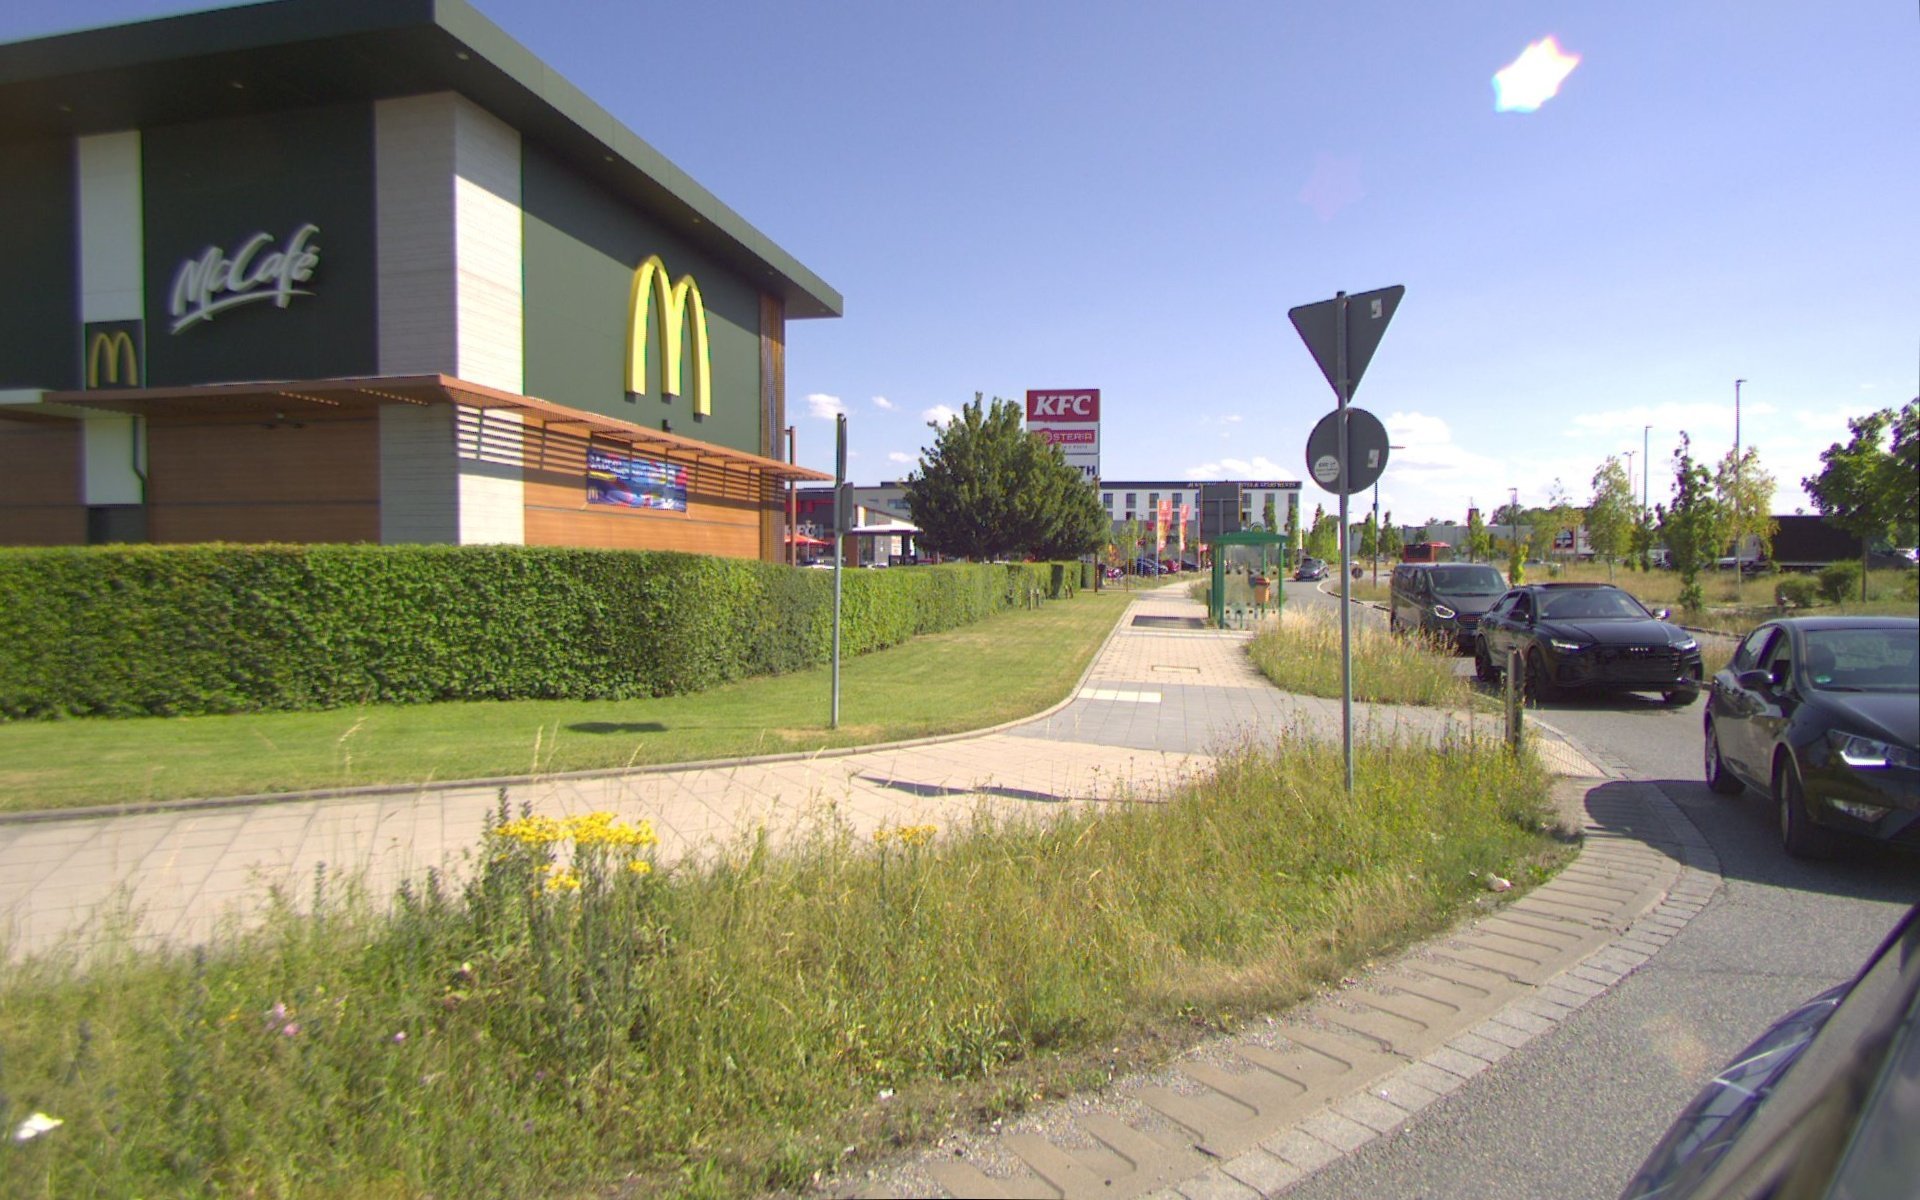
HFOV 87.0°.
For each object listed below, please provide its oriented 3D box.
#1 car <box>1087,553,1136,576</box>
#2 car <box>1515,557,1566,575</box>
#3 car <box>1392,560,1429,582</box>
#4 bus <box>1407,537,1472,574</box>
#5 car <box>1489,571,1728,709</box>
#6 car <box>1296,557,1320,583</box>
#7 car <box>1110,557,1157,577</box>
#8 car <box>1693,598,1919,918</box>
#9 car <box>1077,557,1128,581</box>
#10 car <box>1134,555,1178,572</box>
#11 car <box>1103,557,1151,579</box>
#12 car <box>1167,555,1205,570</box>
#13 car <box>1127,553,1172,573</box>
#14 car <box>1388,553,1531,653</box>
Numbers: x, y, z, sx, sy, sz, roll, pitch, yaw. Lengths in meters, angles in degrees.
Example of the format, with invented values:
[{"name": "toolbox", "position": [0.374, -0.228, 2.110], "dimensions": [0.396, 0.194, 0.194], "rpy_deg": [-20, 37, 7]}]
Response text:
[{"name": "car", "position": [13.925, -3.267, 93.095], "dimensions": [4.146, 2.038, 1.916], "rpy_deg": [1, 2, 27]}, {"name": "car", "position": [55.347, -3.237, 96.558], "dimensions": [1.593, 1.697, 3.937], "rpy_deg": [-1, 3, -44]}, {"name": "car", "position": [29.417, -1.910, 66.041], "dimensions": [1.782, 1.433, 4.337], "rpy_deg": [1, 2, 30]}, {"name": "bus", "position": [45.001, -4.142, 94.707], "dimensions": [2.606, 3.281, 11.712], "rpy_deg": [1, 3, 40]}, {"name": "car", "position": [9.560, 0.491, 15.317], "dimensions": [1.836, 1.709, 3.984], "rpy_deg": [-2, 2, 15]}, {"name": "car", "position": [26.860, -2.303, 78.044], "dimensions": [1.709, 1.927, 3.974], "rpy_deg": [1, 2, 20]}, {"name": "car", "position": [16.897, -3.219, 98.558], "dimensions": [4.153, 1.880, 1.784], "rpy_deg": [1, 2, 31]}, {"name": "car", "position": [6.280, 0.808, 6.587], "dimensions": [1.846, 1.486, 3.963], "rpy_deg": [1, 2, 27]}, {"name": "car", "position": [12.667, -2.777, 90.202], "dimensions": [4.148, 2.038, 1.915], "rpy_deg": [1, 2, 28]}, {"name": "car", "position": [20.553, -3.843, 105.978], "dimensions": [4.152, 1.783, 1.805], "rpy_deg": [1, 2, 30]}, {"name": "car", "position": [15.920, -3.069, 96.387], "dimensions": [4.147, 2.038, 1.916], "rpy_deg": [1, 2, 27]}, {"name": "car", "position": [24.834, -4.090, 111.090], "dimensions": [3.787, 1.639, 1.741], "rpy_deg": [1, 2, 27]}, {"name": "car", "position": [19.310, -3.782, 103.001], "dimensions": [4.144, 2.038, 1.917], "rpy_deg": [1, 2, 26]}, {"name": "car", "position": [11.635, -0.032, 23.946], "dimensions": [2.050, 2.073, 4.664], "rpy_deg": [-2, 2, 15]}]
